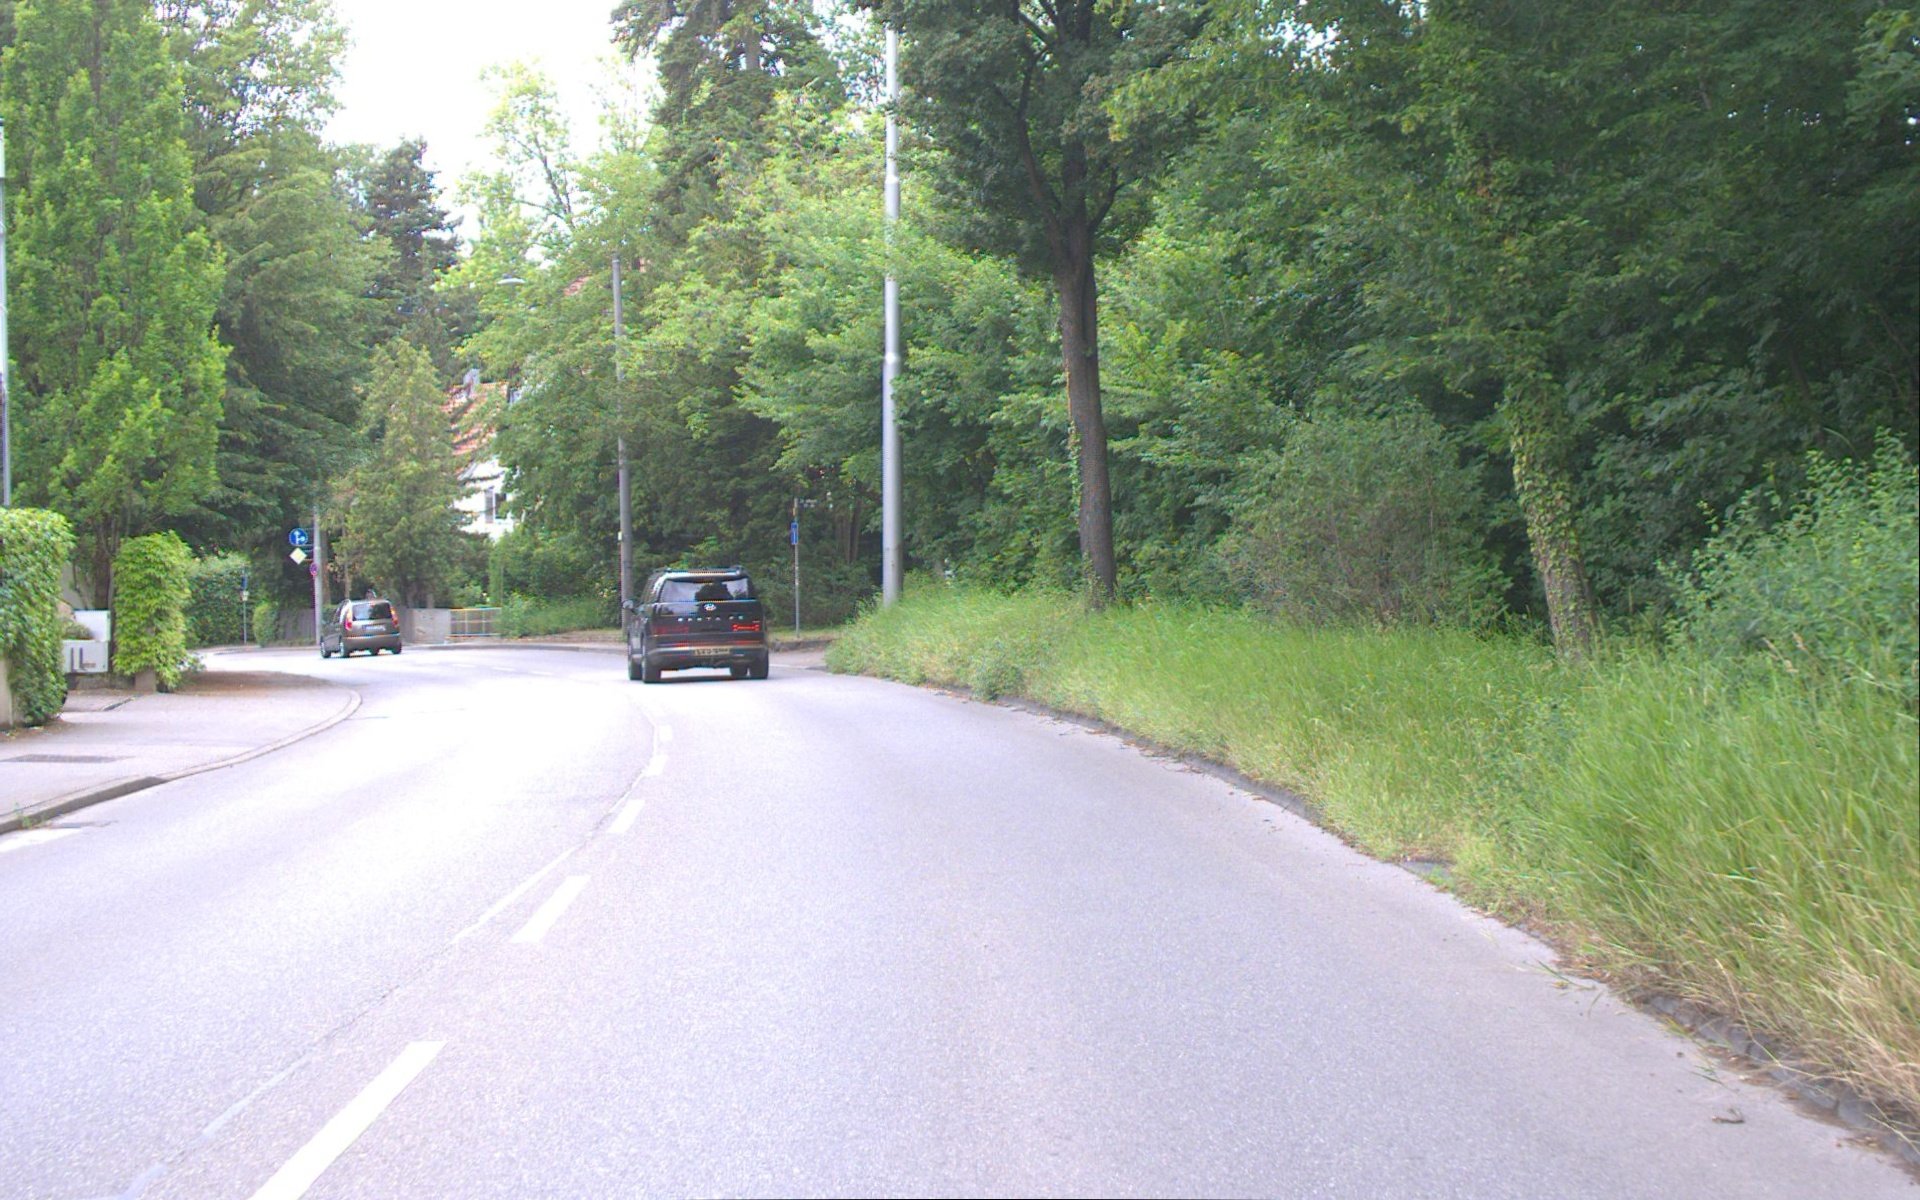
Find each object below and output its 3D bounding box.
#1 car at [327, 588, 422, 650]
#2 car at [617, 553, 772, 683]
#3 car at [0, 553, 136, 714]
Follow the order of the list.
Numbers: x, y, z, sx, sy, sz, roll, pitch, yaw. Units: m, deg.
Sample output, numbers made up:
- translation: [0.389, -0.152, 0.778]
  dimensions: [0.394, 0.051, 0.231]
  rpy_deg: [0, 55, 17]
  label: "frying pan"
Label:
- translation: [-16.298, 0.505, 95.558]
  dimensions: [1.993, 1.612, 4.001]
  rpy_deg: [-2, 1, -18]
  label: "car"
- translation: [-4.155, 0.239, 53.312]
  dimensions: [1.993, 1.875, 4.001]
  rpy_deg: [-1, 1, -10]
  label: "car"
- translation: [-13.761, 0.467, 47.198]
  dimensions: [2.419, 2.066, 5.358]
  rpy_deg: [-2, 0, -43]
  label: "car"
